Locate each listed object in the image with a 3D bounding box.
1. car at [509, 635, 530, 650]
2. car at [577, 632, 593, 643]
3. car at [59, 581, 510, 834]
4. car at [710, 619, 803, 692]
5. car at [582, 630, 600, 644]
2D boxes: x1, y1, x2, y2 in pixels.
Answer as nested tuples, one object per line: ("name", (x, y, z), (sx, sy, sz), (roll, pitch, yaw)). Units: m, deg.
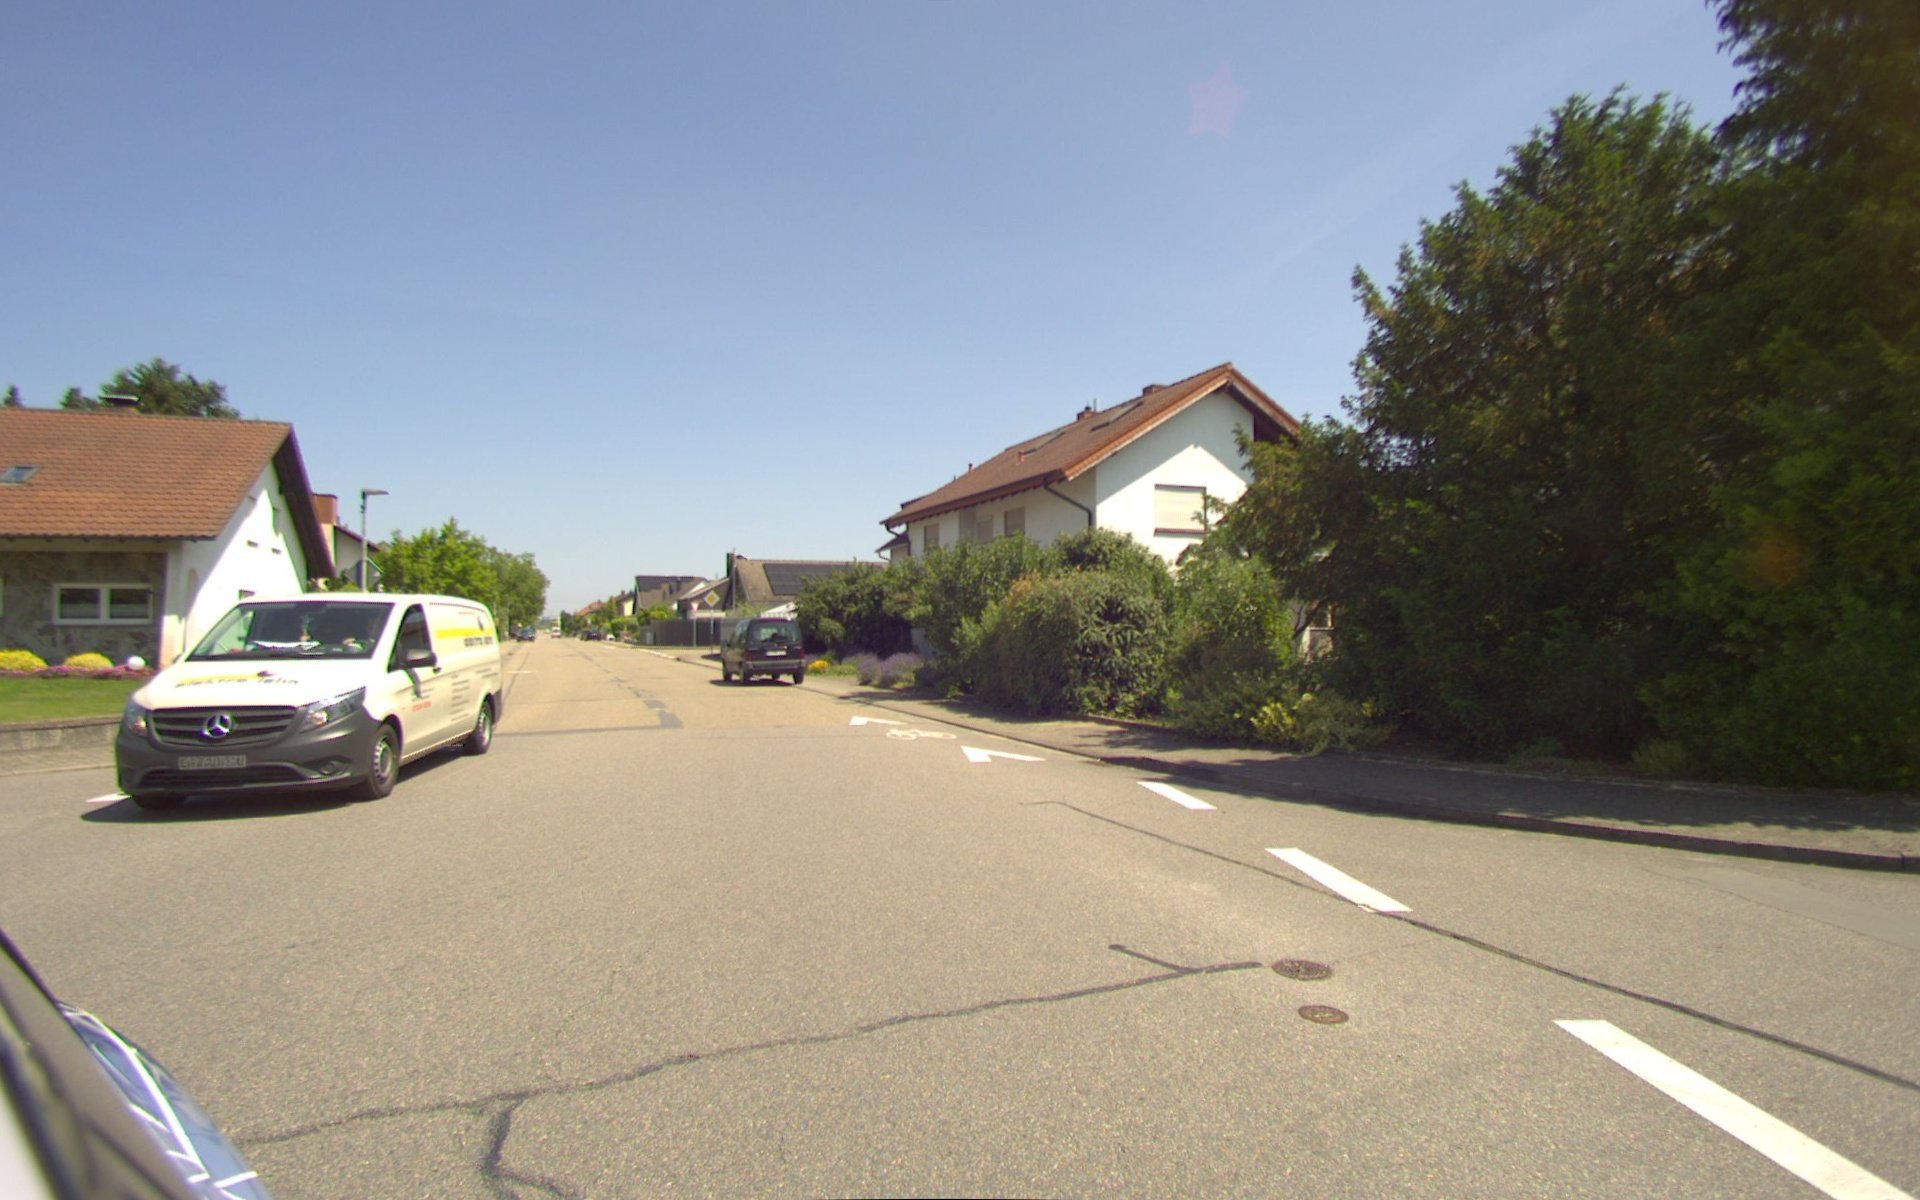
("car", (-50.158, 4.810, 115.250), (1.965, 1.608, 4.013), (0, -1, -20))
("car", (-49.951, 4.984, 134.700), (1.965, 1.409, 4.013), (0, -1, -20))
("car", (-6.202, 0.853, 10.190), (1.986, 1.870, 5.080), (0, -1, -11))
("car", (-5.725, 1.474, 28.069), (1.694, 1.860, 4.067), (0, -2, -24))
("car", (-43.715, 4.370, 119.904), (1.965, 1.608, 4.013), (0, -1, -20))
